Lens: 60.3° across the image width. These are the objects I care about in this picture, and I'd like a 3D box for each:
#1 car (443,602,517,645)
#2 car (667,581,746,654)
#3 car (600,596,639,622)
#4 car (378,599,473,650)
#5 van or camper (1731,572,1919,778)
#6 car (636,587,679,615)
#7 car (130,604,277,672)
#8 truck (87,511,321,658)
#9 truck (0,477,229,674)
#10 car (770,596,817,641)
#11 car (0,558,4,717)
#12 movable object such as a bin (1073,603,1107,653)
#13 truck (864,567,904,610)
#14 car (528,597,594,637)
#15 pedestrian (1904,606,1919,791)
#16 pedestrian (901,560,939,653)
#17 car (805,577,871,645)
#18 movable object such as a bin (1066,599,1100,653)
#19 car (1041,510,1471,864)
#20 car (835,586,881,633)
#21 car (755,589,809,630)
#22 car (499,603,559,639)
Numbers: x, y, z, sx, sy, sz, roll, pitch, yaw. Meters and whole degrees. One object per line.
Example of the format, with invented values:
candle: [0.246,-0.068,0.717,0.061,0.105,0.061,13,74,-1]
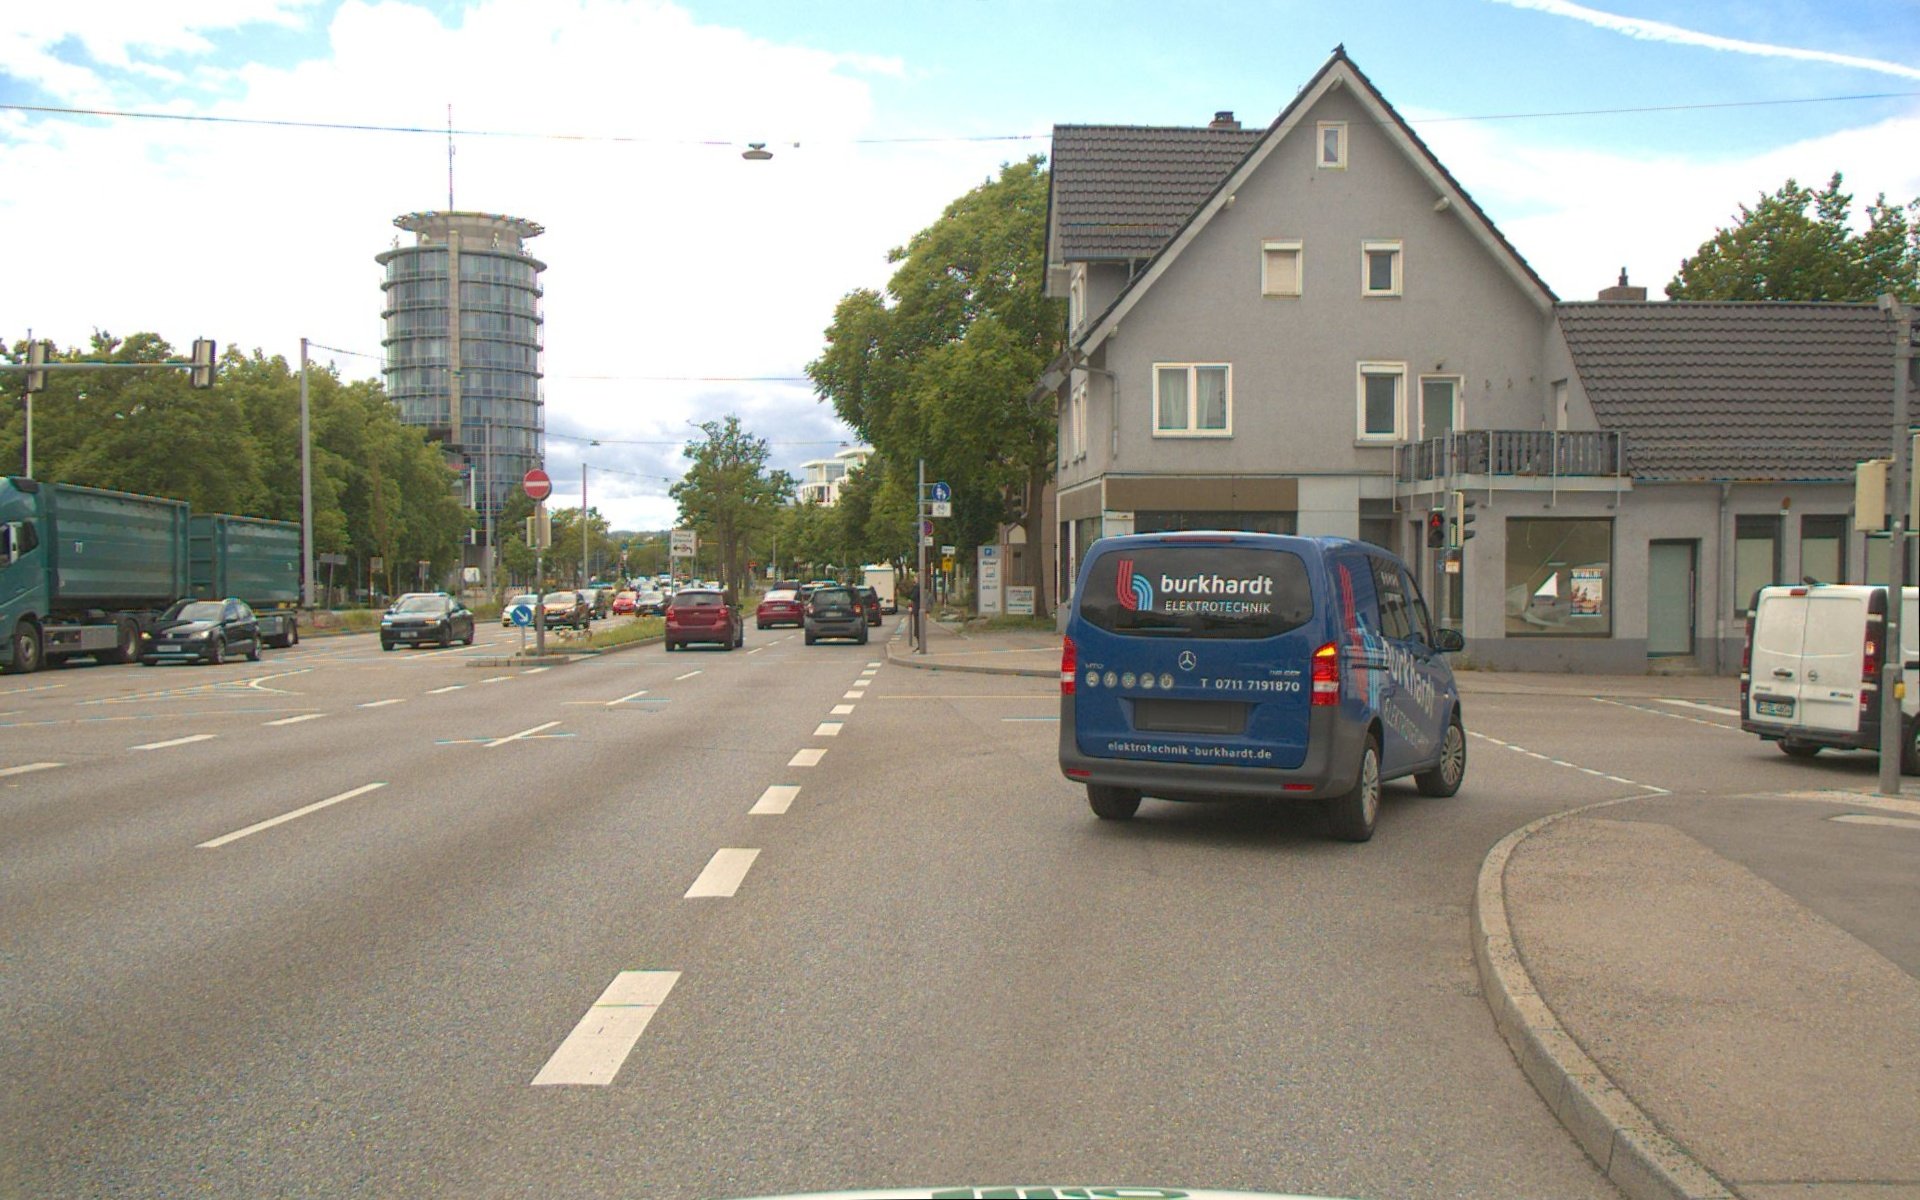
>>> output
car: [-19.053,0.916,65.788,1.954,1.601,3.997,-1,0,-4]
car: [-6.389,0.410,41.991,1.712,1.753,3.996,-1,0,-5]
car: [-21.781,0.589,105.993,1.954,1.601,3.996,-1,0,-5]
car: [-14.989,0.652,46.590,1.957,1.355,4.434,-1,0,-10]
van or camper: [11.408,0.788,18.666,5.007,2.048,1.988,1,2,-22]
car: [-17.496,0.051,95.891,1.954,1.601,3.997,-1,0,-4]
car: [-17.284,0.825,37.991,1.762,1.442,3.996,-1,0,-4]
truck: [-21.306,-0.405,47.233,3.301,3.792,8.022,-1,0,-3]
truck: [-20.294,-0.461,37.258,3.301,3.792,11.271,1,0,-4]
car: [-8.124,0.887,80.434,1.957,2.049,3.991,1,1,-10]
car: [-13.264,0.499,19.265,1.954,2.049,4.177,-1,0,-3]
movable object such as a bin: [2.694,0.577,34.242,0.586,1.004,0.572,-1,0,-9]
truck: [-4.081,-0.597,89.277,1.953,2.203,5.558,2,0,-1]
car: [-16.228,0.660,67.375,1.954,1.542,3.996,-1,0,-4]
pedestrian: [8.743,0.862,14.463,0.592,1.625,0.609,1,-3,-3]
pedestrian: [-0.890,0.136,36.987,0.755,2.049,0.878,-1,0,3]
car: [-3.343,0.280,45.462,1.712,1.753,3.997,-1,0,-4]
movable object such as a bin: [2.582,0.541,34.836,0.586,1.120,0.572,-1,0,-9]
car: [2.329,0.485,11.801,1.909,2.000,4.538,1,0,25]
car: [-3.999,0.339,64.866,1.711,1.753,3.997,-1,0,-3]
car: [-6.970,0.386,64.411,1.834,1.512,3.990,-1,-2,-10]
car: [-20.009,0.944,76.973,1.954,1.601,3.997,-1,0,-4]
